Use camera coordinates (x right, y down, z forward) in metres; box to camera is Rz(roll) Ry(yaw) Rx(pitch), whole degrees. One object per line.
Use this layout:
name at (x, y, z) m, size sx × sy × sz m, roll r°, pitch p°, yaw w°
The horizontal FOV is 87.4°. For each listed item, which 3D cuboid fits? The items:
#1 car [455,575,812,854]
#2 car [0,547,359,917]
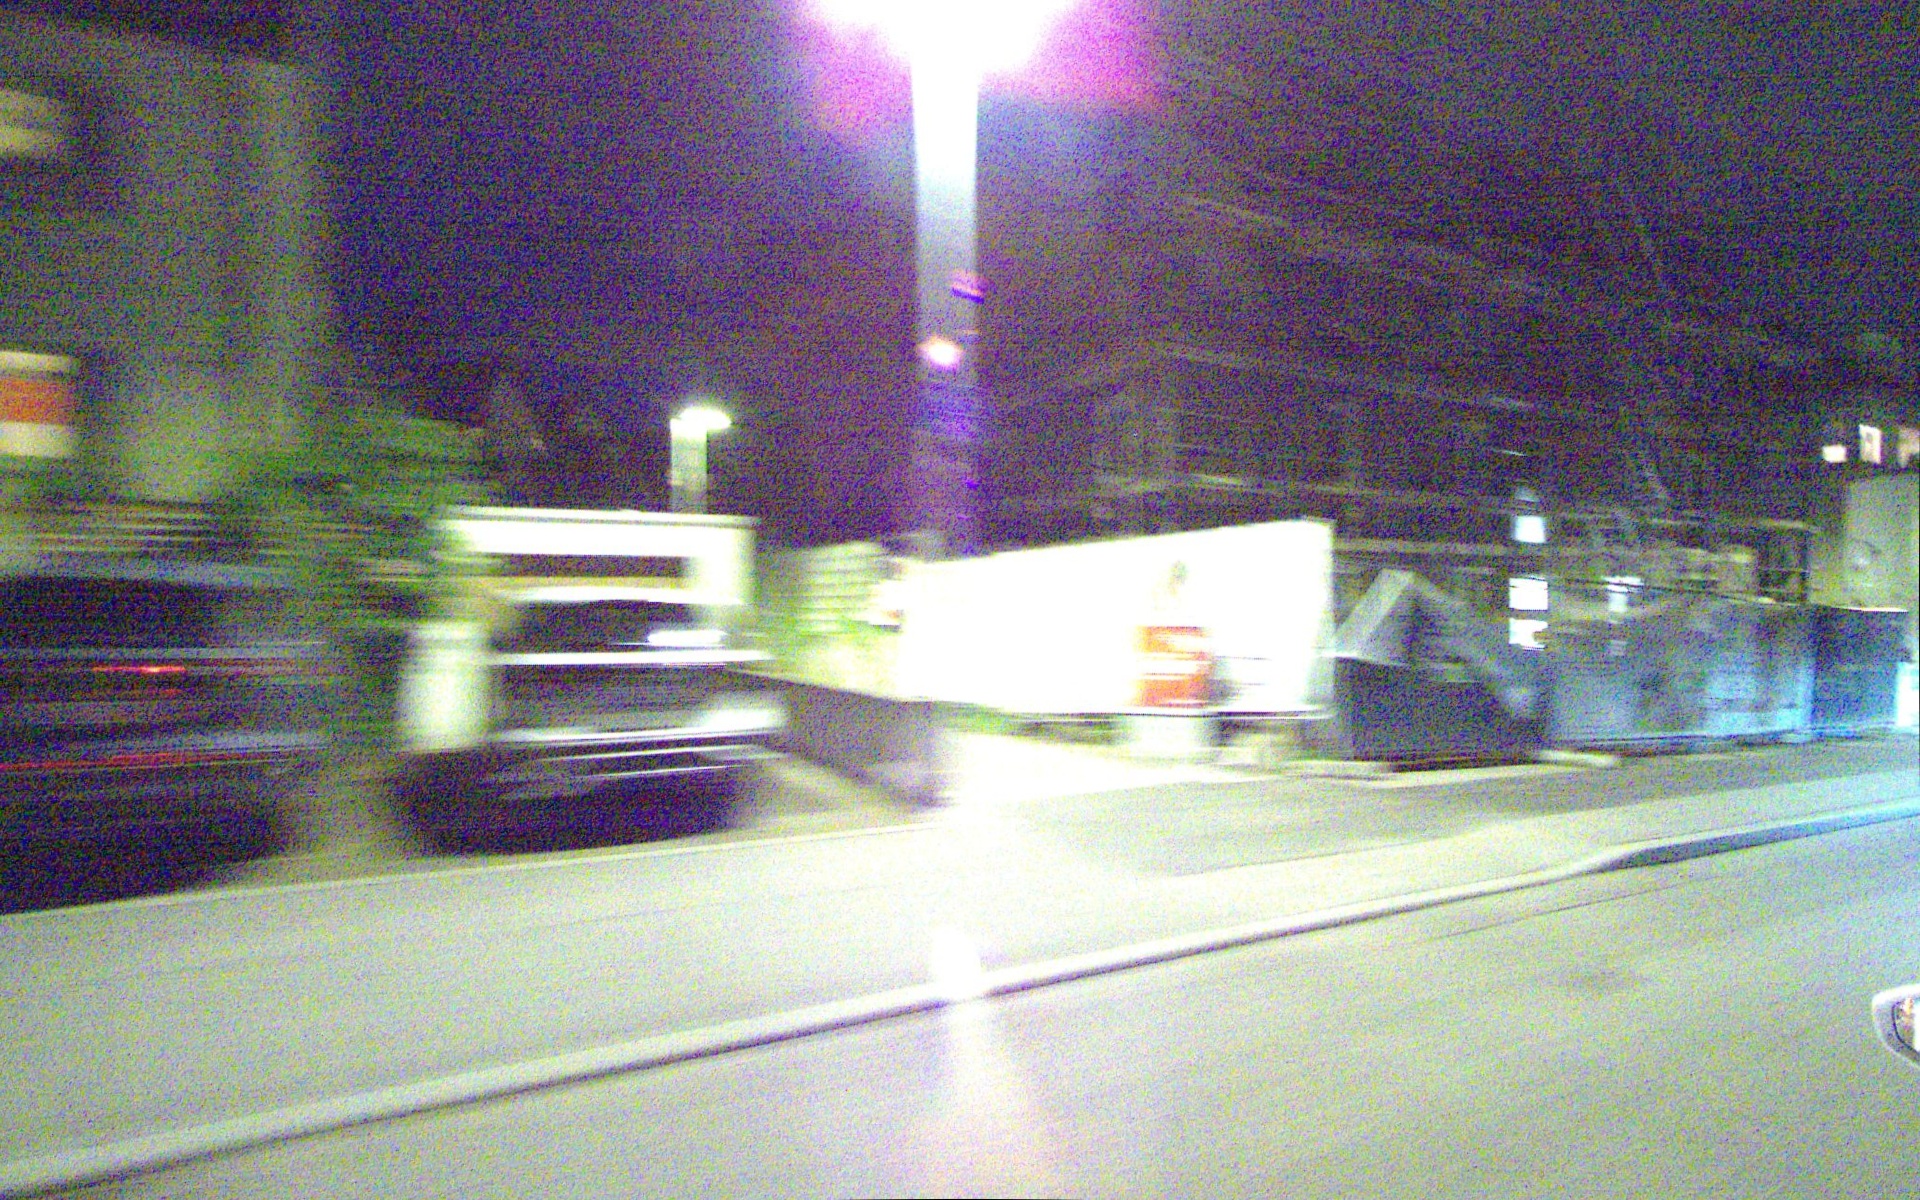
car at (-2.738, 0.645, 7.795) m, size 1.904 × 1.576 × 3.793 m, roll 0°, pitch 0°, yaw -30°
car at (-5.176, 0.601, 6.433) m, size 2.040 × 1.634 × 4.398 m, roll 2°, pitch -1°, yaw -29°
